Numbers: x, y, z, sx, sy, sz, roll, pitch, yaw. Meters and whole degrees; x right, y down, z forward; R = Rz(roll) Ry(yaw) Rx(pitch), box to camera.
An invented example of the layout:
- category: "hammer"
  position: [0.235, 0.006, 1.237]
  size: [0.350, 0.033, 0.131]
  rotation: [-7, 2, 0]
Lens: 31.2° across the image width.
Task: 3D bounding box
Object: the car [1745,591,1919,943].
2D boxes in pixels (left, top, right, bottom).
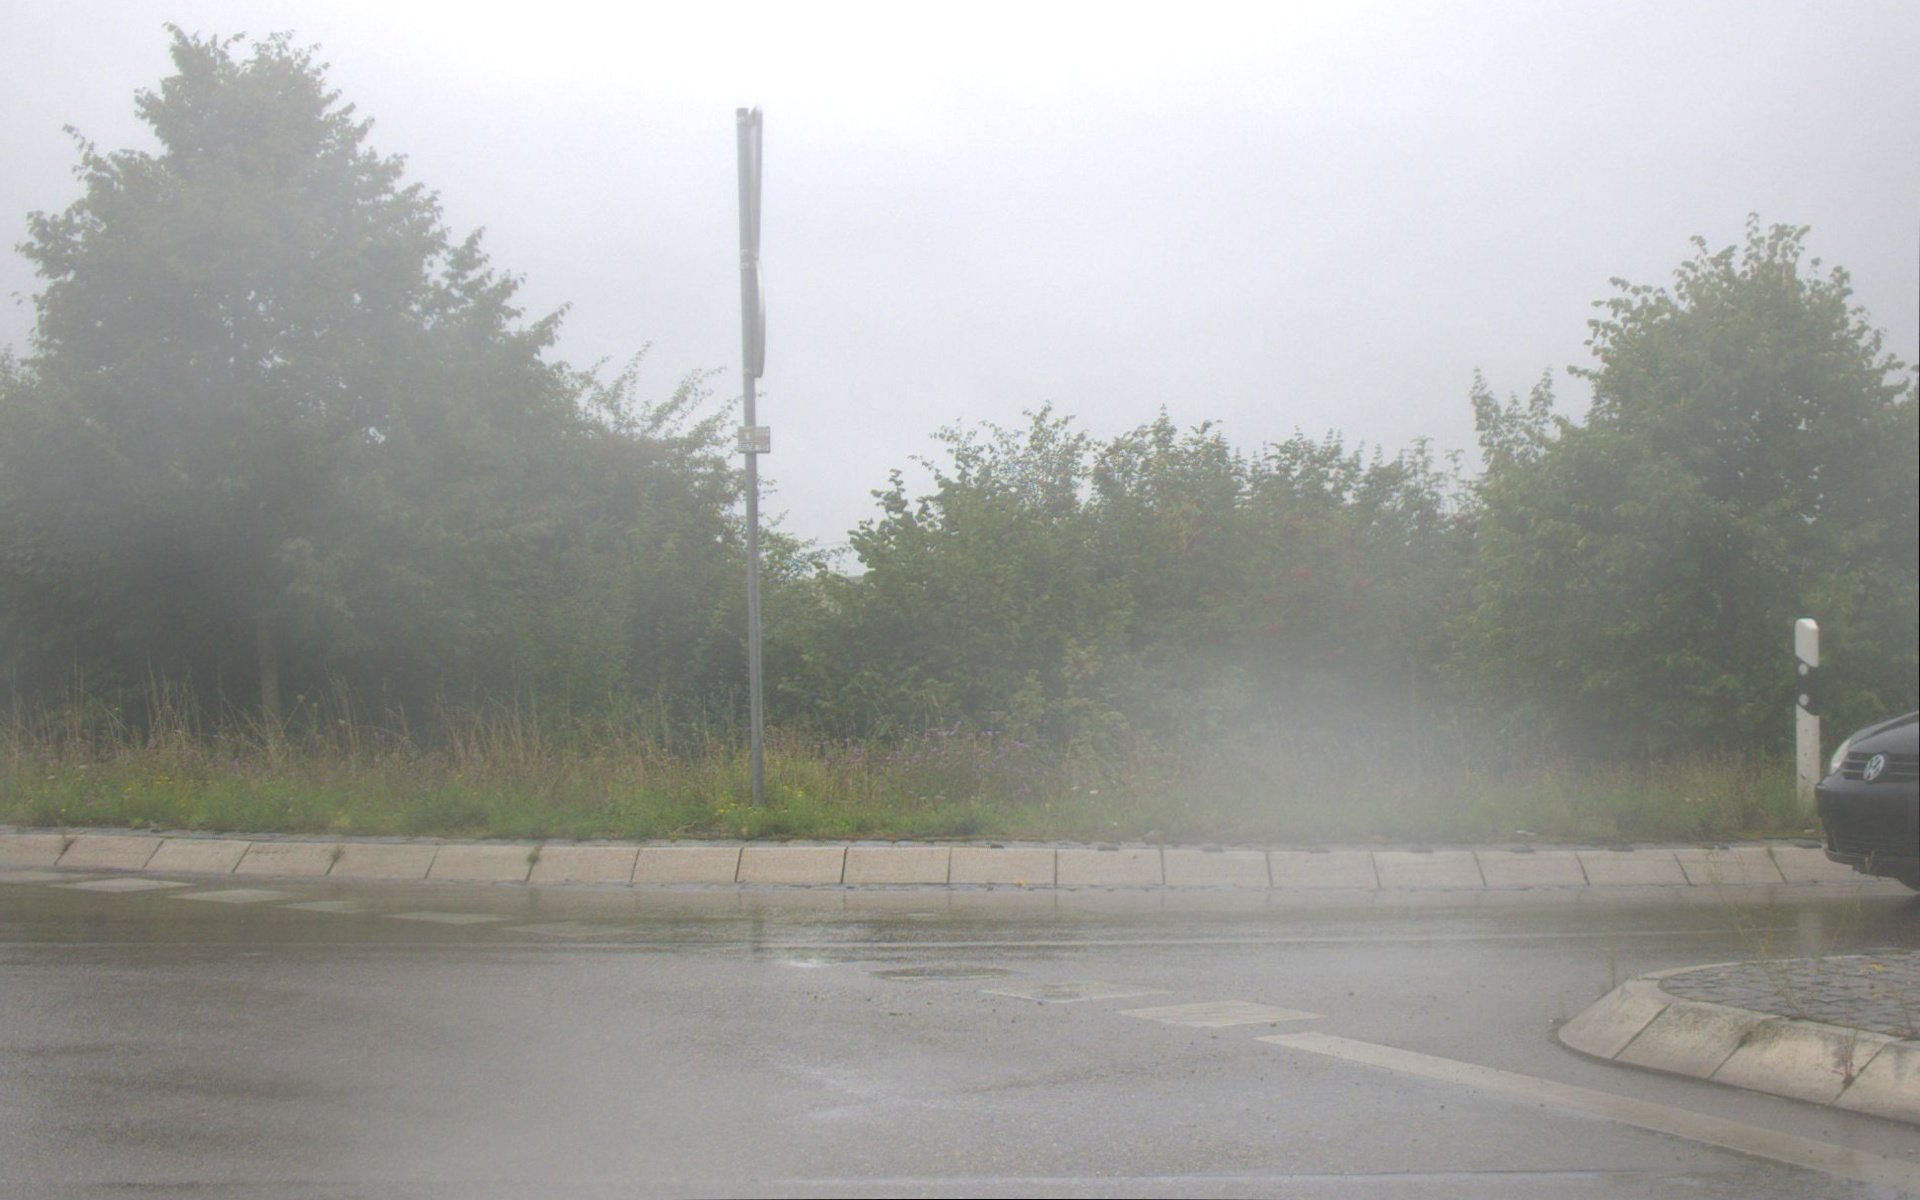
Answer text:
- category: "car"
  position: [5.928, 0.691, 15.071]
  size: [4.487, 1.416, 1.875]
  rotation: [0, 1, -16]
